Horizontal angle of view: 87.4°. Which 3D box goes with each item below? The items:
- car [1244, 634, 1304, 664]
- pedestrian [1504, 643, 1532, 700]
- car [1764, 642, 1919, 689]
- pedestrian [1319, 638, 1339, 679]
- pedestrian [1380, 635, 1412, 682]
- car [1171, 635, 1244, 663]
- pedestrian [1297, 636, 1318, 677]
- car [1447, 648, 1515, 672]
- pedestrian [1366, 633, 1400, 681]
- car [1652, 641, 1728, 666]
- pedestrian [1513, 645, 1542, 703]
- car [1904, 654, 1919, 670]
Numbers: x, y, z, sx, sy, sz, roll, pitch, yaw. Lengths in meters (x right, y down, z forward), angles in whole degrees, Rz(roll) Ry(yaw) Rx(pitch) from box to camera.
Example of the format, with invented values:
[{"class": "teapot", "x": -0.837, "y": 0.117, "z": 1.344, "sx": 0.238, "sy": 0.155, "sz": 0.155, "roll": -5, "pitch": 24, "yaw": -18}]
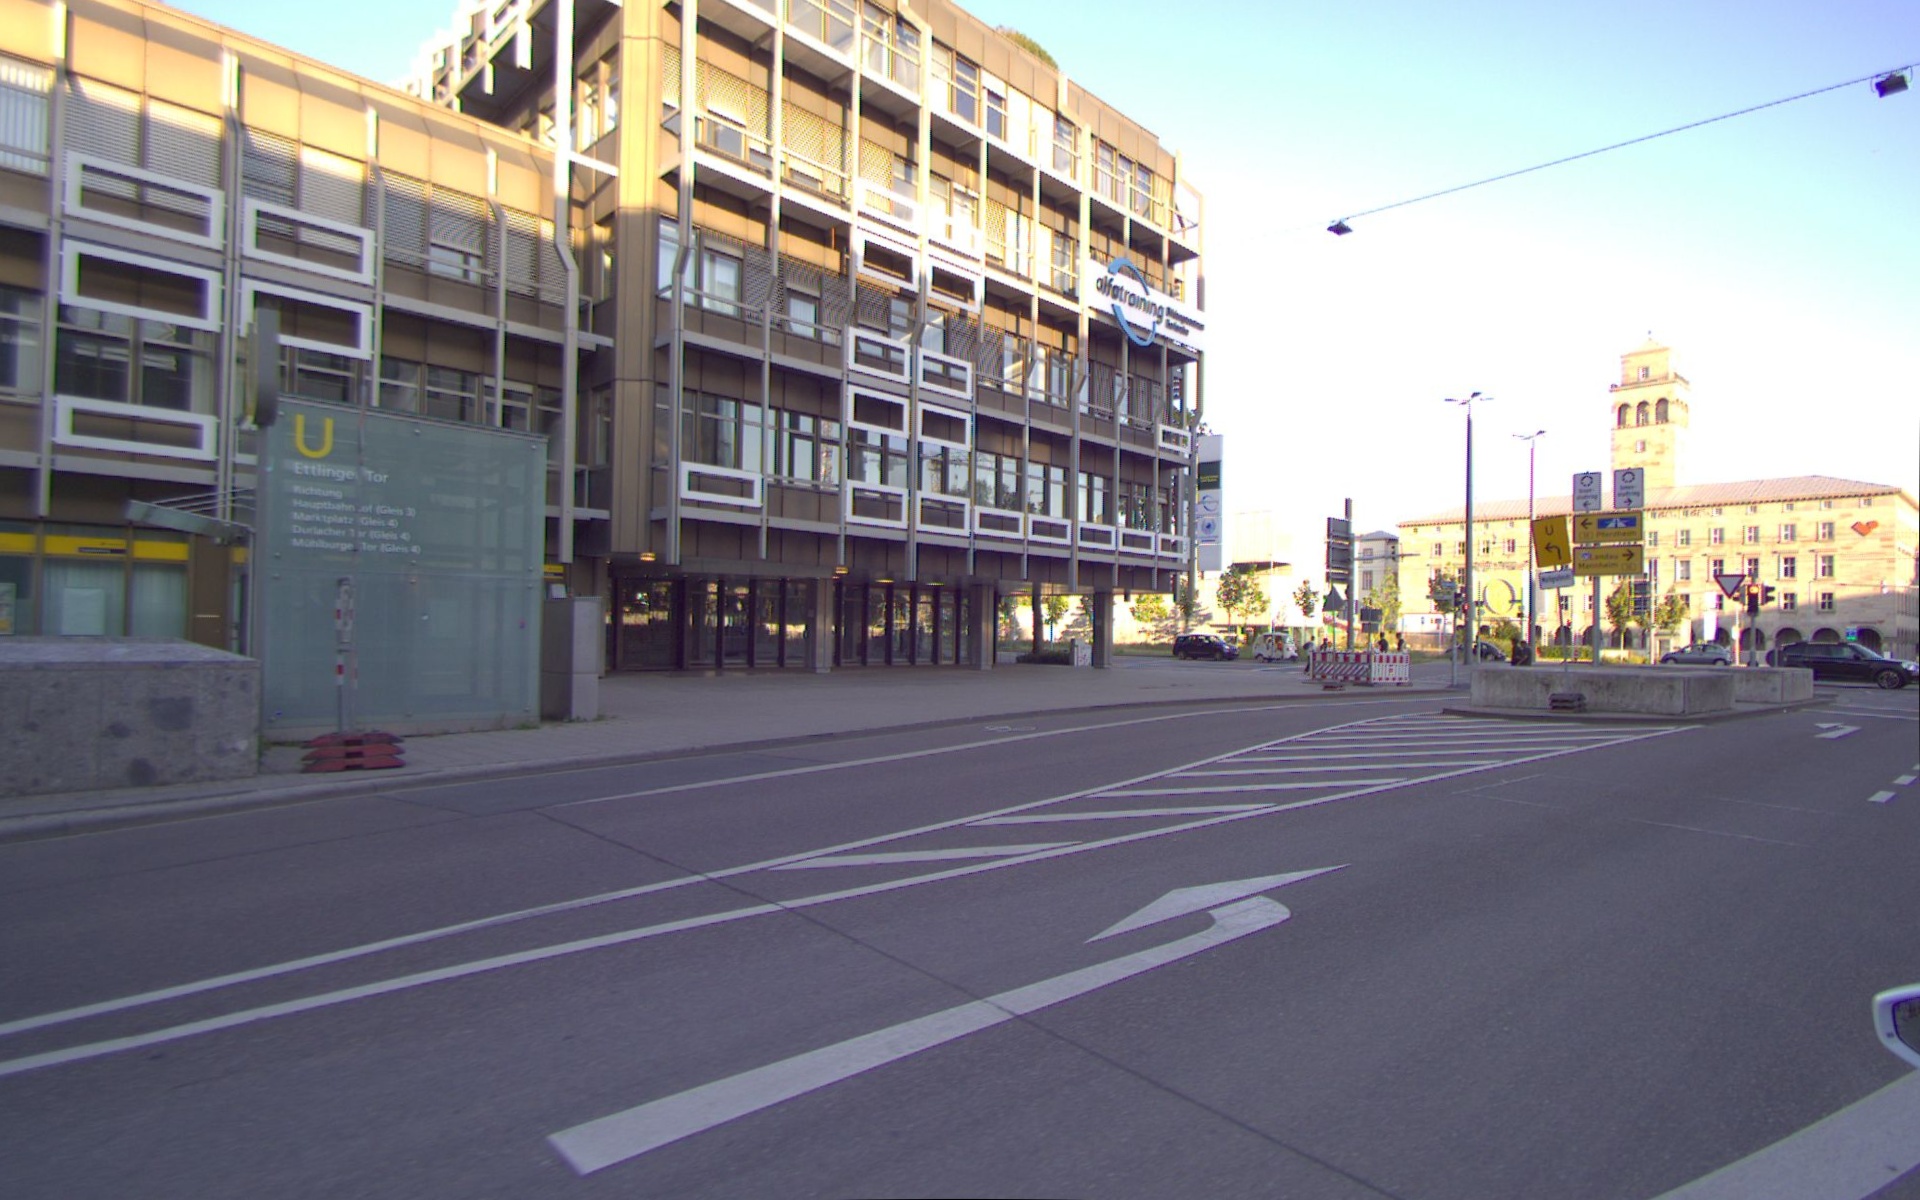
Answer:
[{"class": "car", "x": 18.737, "y": 2.892, "z": 60.028, "sx": 3.090, "sy": 1.707, "sz": 1.607, "roll": 0, "pitch": -2, "yaw": 36}, {"class": "pedestrian", "x": 18.159, "y": 2.318, "z": 32.705, "sx": 0.727, "sy": 1.800, "sz": 0.862, "roll": 1, "pitch": -1, "yaw": 27}, {"class": "car", "x": 32.372, "y": 2.350, "z": 36.699, "sx": 2.112, "sy": 1.515, "sz": 4.421, "roll": 2, "pitch": -2, "yaw": -41}, {"class": "pedestrian", "x": 16.605, "y": 2.646, "z": 45.217, "sx": 0.726, "sy": 1.800, "sz": 0.864, "roll": -2, "pitch": -3, "yaw": 14}, {"class": "pedestrian", "x": 16.944, "y": 2.259, "z": 39.065, "sx": 0.853, "sy": 1.800, "sz": 0.735, "roll": 1, "pitch": -4, "yaw": -29}, {"class": "car", "x": 15.558, "y": 3.056, "z": 63.224, "sx": 4.132, "sy": 1.613, "sz": 1.688, "roll": -1, "pitch": -2, "yaw": 41}, {"class": "pedestrian", "x": 15.671, "y": 2.562, "z": 45.278, "sx": 0.726, "sy": 1.800, "sz": 0.864, "roll": -1, "pitch": -3, "yaw": 12}, {"class": "car", "x": 35.963, "y": 4.138, "z": 69.369, "sx": 3.940, "sy": 1.514, "sz": 1.820, "roll": -1, "pitch": -2, "yaw": 40}, {"class": "pedestrian", "x": 16.209, "y": 2.180, "z": 38.497, "sx": 0.851, "sy": 1.800, "sz": 0.736, "roll": 1, "pitch": -4, "yaw": -25}, {"class": "car", "x": 44.954, "y": 3.268, "z": 61.899, "sx": 3.674, "sy": 1.472, "sz": 1.537, "roll": -1, "pitch": -2, "yaw": 43}, {"class": "pedestrian", "x": 17.976, "y": 2.328, "z": 31.823, "sx": 0.727, "sy": 1.800, "sz": 0.863, "roll": 0, "pitch": -2, "yaw": 24}, {"class": "car", "x": 104.380, "y": 6.674, "z": 108.327, "sx": 3.935, "sy": 1.684, "sz": 1.993, "roll": 1, "pitch": -2, "yaw": -17}]
